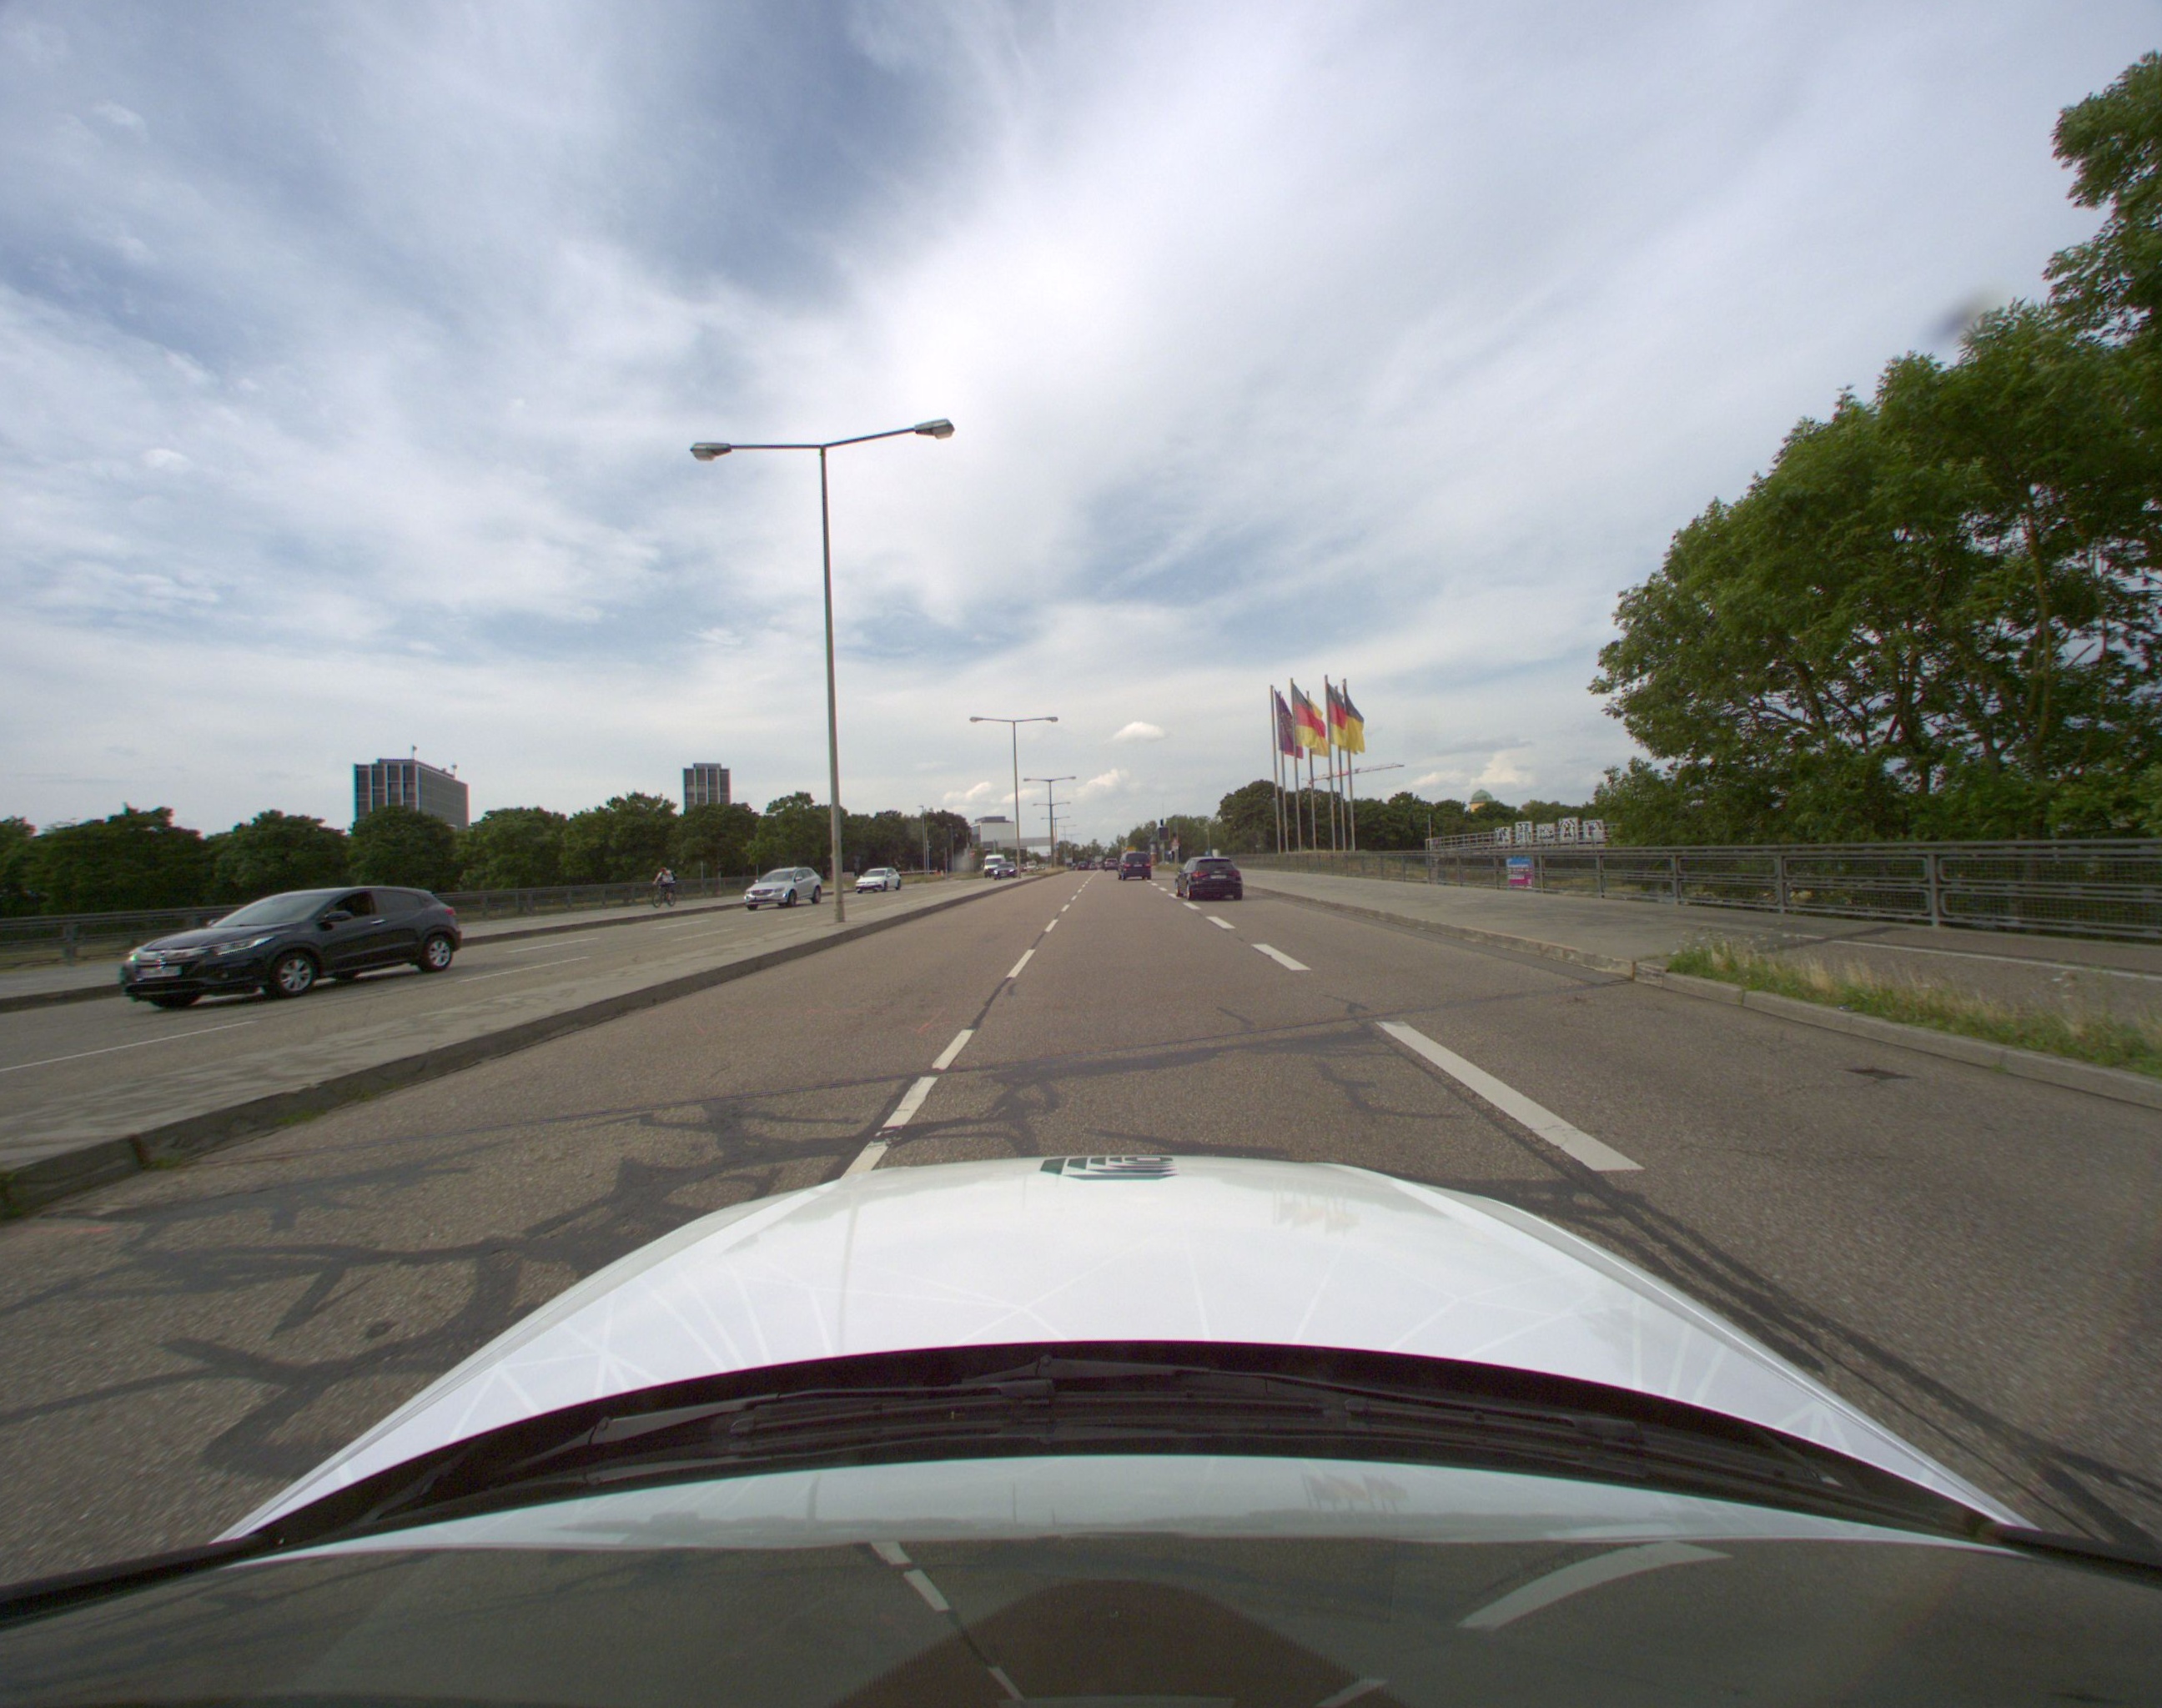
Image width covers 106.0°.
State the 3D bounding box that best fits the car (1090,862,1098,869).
[{"bbox_3d":[2.952,2.641,182.186,1.725,1.526,4.115,-1,-1,1],"label":"car"}]

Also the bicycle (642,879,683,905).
[{"bbox_3d":[-18.117,1.615,35.289,0.704,1.049,2.059,-1,-1,-1],"label":"bicycle"}]

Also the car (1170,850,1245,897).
[{"bbox_3d":[4.144,0.660,27.270,1.726,1.395,4.112,-2,-1,-2],"label":"car"}]

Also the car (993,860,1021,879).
[{"bbox_3d":[-6.263,1.332,68.983,1.732,1.481,4.777,-4,-2,1],"label":"car"}]

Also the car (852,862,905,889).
[{"bbox_3d":[-12.529,1.327,50.674,1.730,1.480,4.476,-4,-1,4],"label":"car"}]

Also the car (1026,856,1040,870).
[{"bbox_3d":[-7.004,1.288,118.137,1.534,1.871,3.572,-4,-1,2],"label":"car"}]

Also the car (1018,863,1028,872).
[{"bbox_3d":[-11.158,2.687,157.230,1.646,1.574,4.336,-4,-1,-1],"label":"car"}]

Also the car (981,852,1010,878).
[{"bbox_3d":[-9.314,1.193,89.196,2.044,2.643,6.405,-4,-1,3],"label":"car"}]

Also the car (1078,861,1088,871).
[{"bbox_3d":[0.430,2.086,144.203,1.725,1.653,4.114,-1,-1,0],"label":"car"}]

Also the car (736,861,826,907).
[{"bbox_3d":[-12.779,1.232,35.026,1.855,1.725,4.773,-4,-1,2],"label":"car"}]

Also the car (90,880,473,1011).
[{"bbox_3d":[-12.076,1.270,12.821,1.734,1.515,4.314,-4,-1,-1],"label":"car"}]

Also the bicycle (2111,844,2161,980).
[{"bbox_3d":[8.674,0.480,5.643,0.575,1.022,1.976,-5,2,1],"label":"bicycle"}]

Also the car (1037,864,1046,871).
[{"bbox_3d":[-9.167,3.177,190.581,1.740,1.476,4.563,-3,-1,-1],"label":"car"}]

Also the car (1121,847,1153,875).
[{"bbox_3d":[3.418,0.476,50.370,1.725,1.653,4.114,-1,-1,0],"label":"car"}]

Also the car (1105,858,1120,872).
[{"bbox_3d":[3.926,1.357,101.866,1.725,1.653,4.114,-1,-1,0],"label":"car"}]

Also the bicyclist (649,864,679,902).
[{"bbox_3d":[-18.143,1.263,35.442,0.792,1.626,0.976,-1,-1,-1],"label":"bicyclist"}]
